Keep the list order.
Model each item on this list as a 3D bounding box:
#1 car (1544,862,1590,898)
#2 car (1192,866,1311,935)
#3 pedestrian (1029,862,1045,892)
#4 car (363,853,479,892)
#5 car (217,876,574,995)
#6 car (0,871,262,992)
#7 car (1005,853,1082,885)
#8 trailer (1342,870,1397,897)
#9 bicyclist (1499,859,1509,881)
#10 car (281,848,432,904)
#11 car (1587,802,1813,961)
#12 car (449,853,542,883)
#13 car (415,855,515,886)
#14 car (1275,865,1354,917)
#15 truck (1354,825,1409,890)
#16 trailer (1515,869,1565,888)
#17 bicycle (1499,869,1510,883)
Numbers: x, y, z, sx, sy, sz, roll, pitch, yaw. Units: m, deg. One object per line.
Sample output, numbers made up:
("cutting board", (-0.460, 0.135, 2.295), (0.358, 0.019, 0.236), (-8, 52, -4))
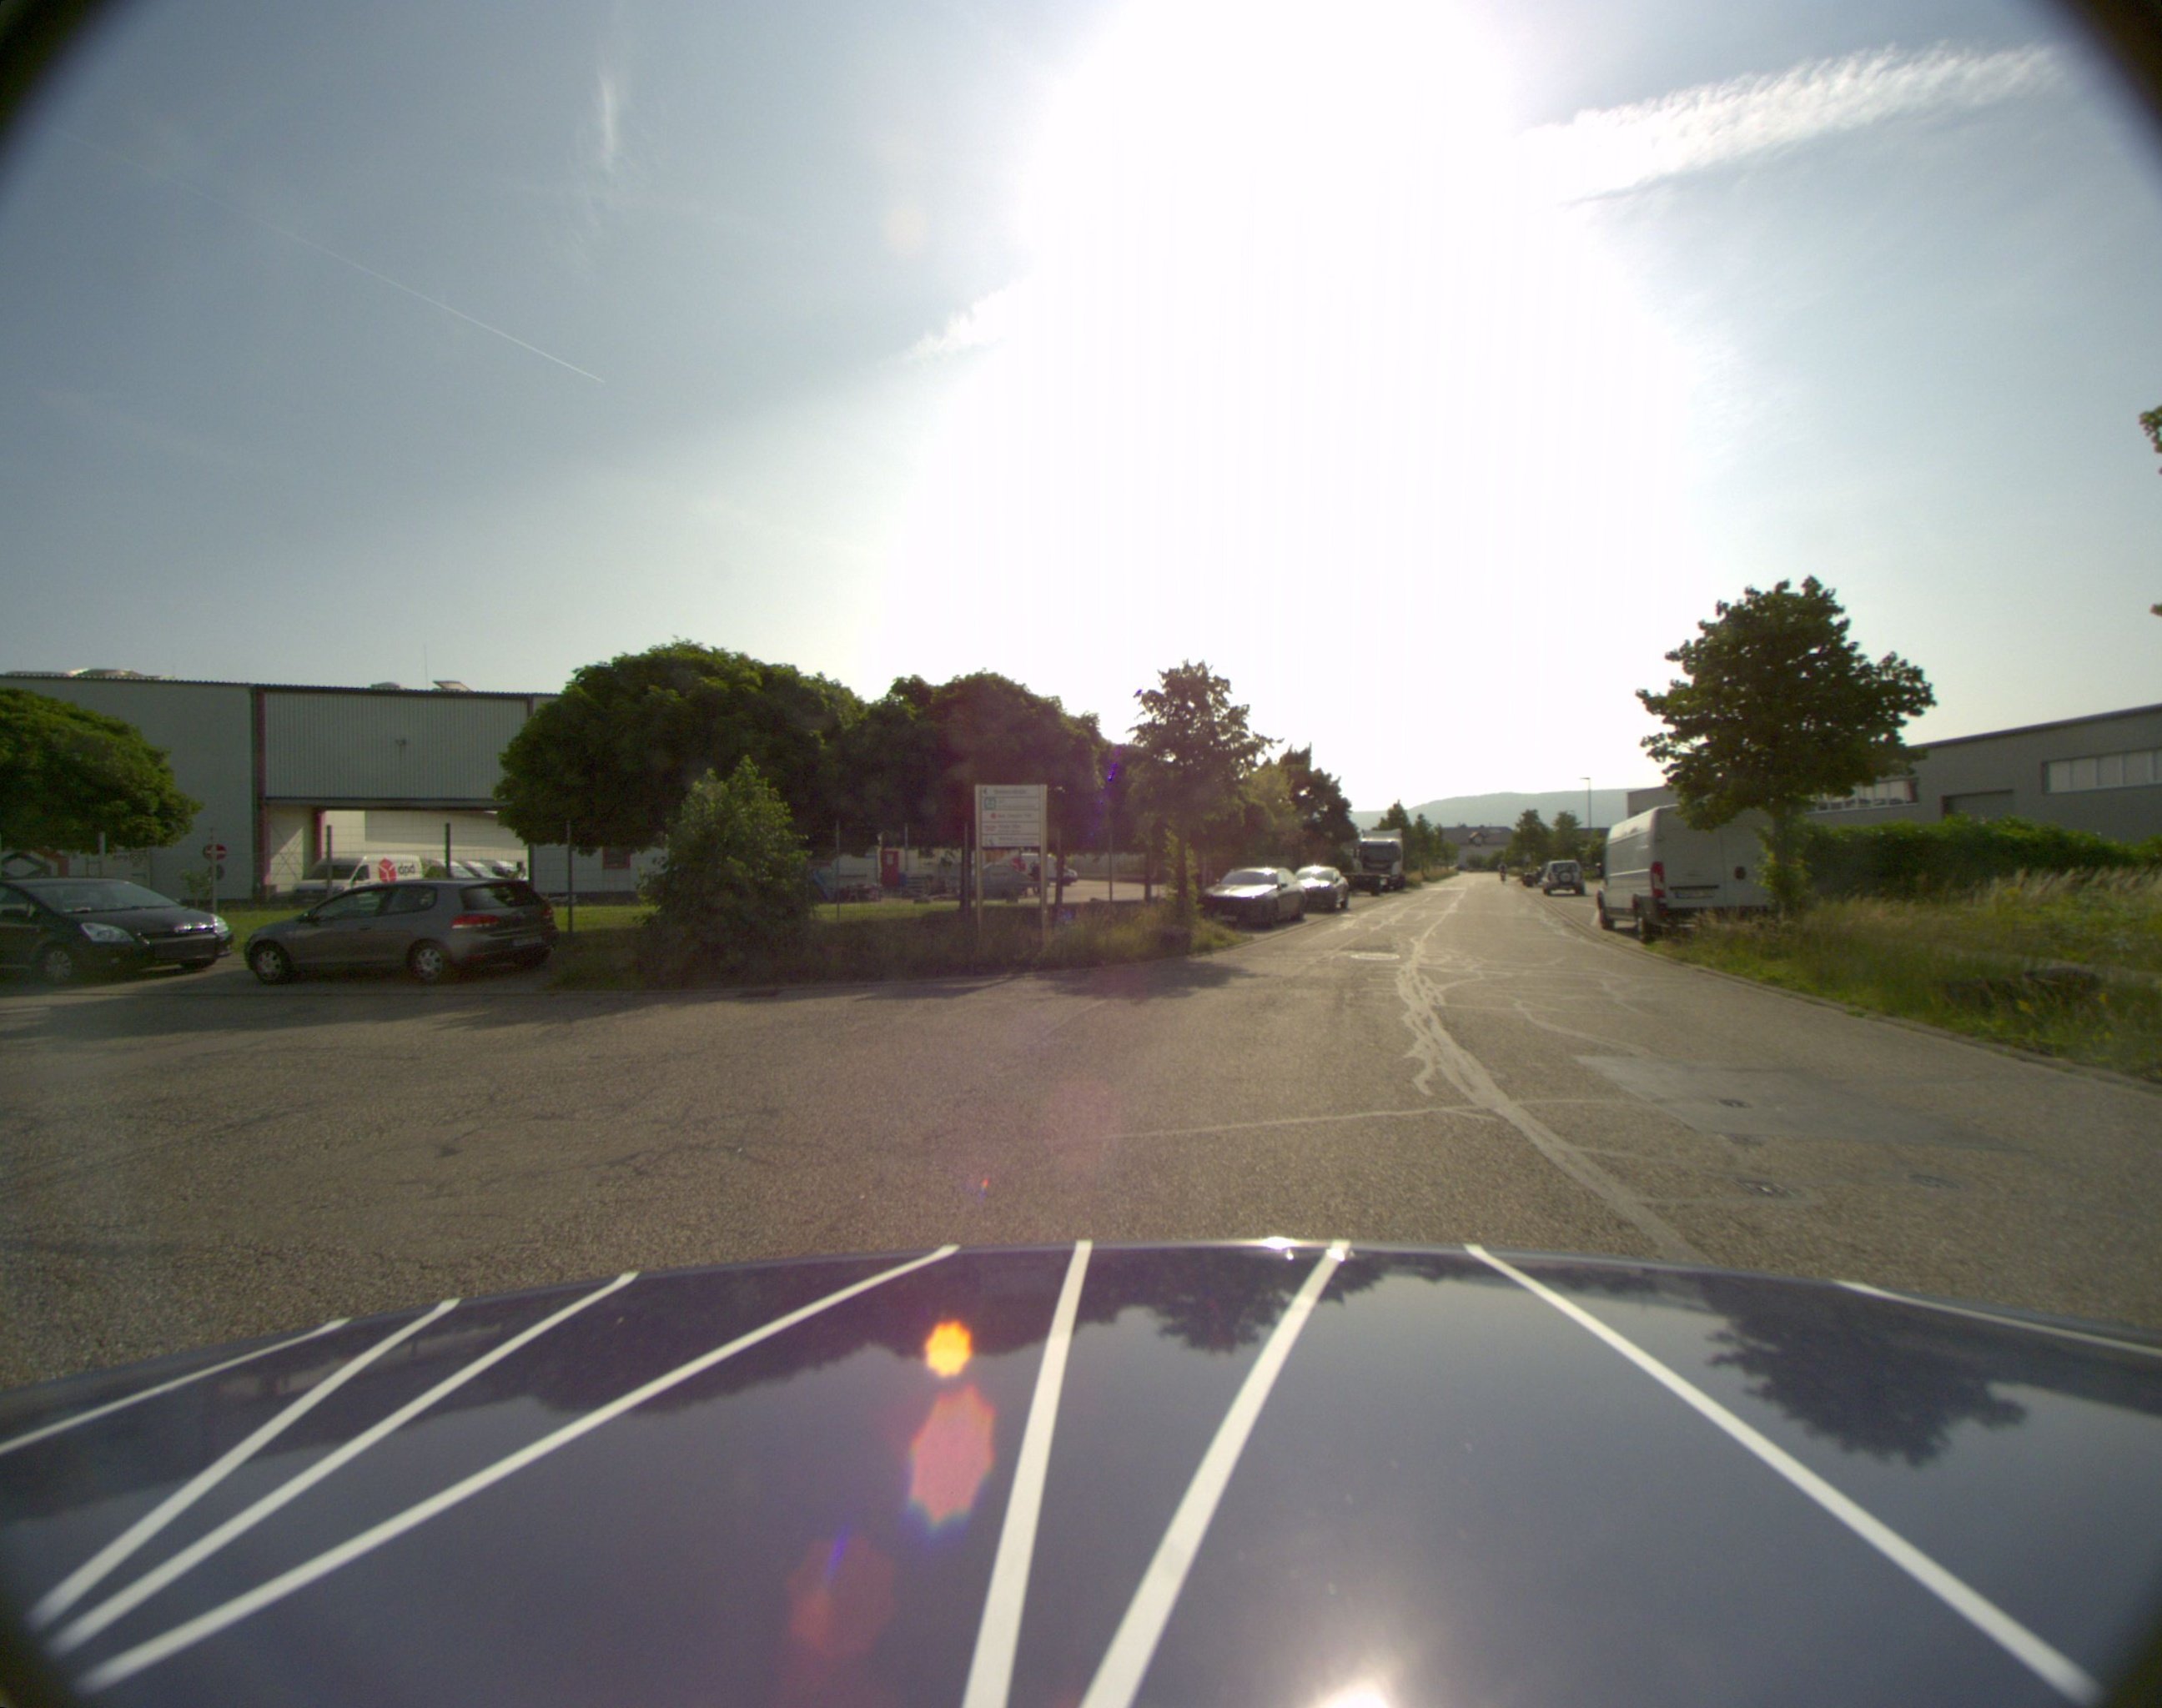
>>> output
("car", (23.852, 1.241, 37.380), (1.598, 1.641, 3.651), (-2, -2, 28))
("car", (4.888, 1.180, 21.159), (1.881, 1.565, 5.128), (1, 1, 29))
("pedestrian", (-2.531, 1.327, 43.876), (0.858, 1.711, 0.632), (-1, 0, -3))
("car", (-38.774, 1.071, 44.763), (4.849, 2.275, 1.930), (0, 0, -10))
("car", (-10.113, 1.175, 11.381), (3.956, 1.515, 1.728), (-1, 2, 7))
("car", (-15.907, 1.176, 11.954), (4.263, 1.617, 1.878), (-1, 2, 7))
("car", (-3.194, 1.248, 64.949), (6.276, 2.633, 2.210), (-1, 0, -13))
("trailer", (15.940, 1.561, 41.720), (1.939, 1.228, 7.465), (1, 0, 27))
("bicyclist", (33.707, 1.275, 60.547), (0.640, 1.709, 1.168), (-1, 0, 29))
("car", (-35.534, 0.998, 37.618), (2.175, 2.503, 6.694), (-1, 0, -12))
("car", (12.325, 0.502, 15.746), (2.104, 2.579, 6.516), (-1, -1, 26))
("car", (-41.274, 0.964, 53.679), (4.849, 2.072, 1.930), (0, 0, -10))
("car", (-41.023, 1.080, 50.744), (4.849, 1.952, 1.930), (0, 0, -10))
("car", (8.489, 1.258, 27.419), (1.881, 1.565, 4.121), (2, 1, 28))
("truck", (19.512, 0.210, 49.101), (2.693, 3.941, 6.059), (2, 0, 27))
("trailer", (32.683, 1.715, 54.362), (2.548, 1.067, 9.751), (-3, -2, 28))
("bicycle", (33.721, 1.747, 60.568), (0.716, 1.116, 2.224), (2, 1, 29))
